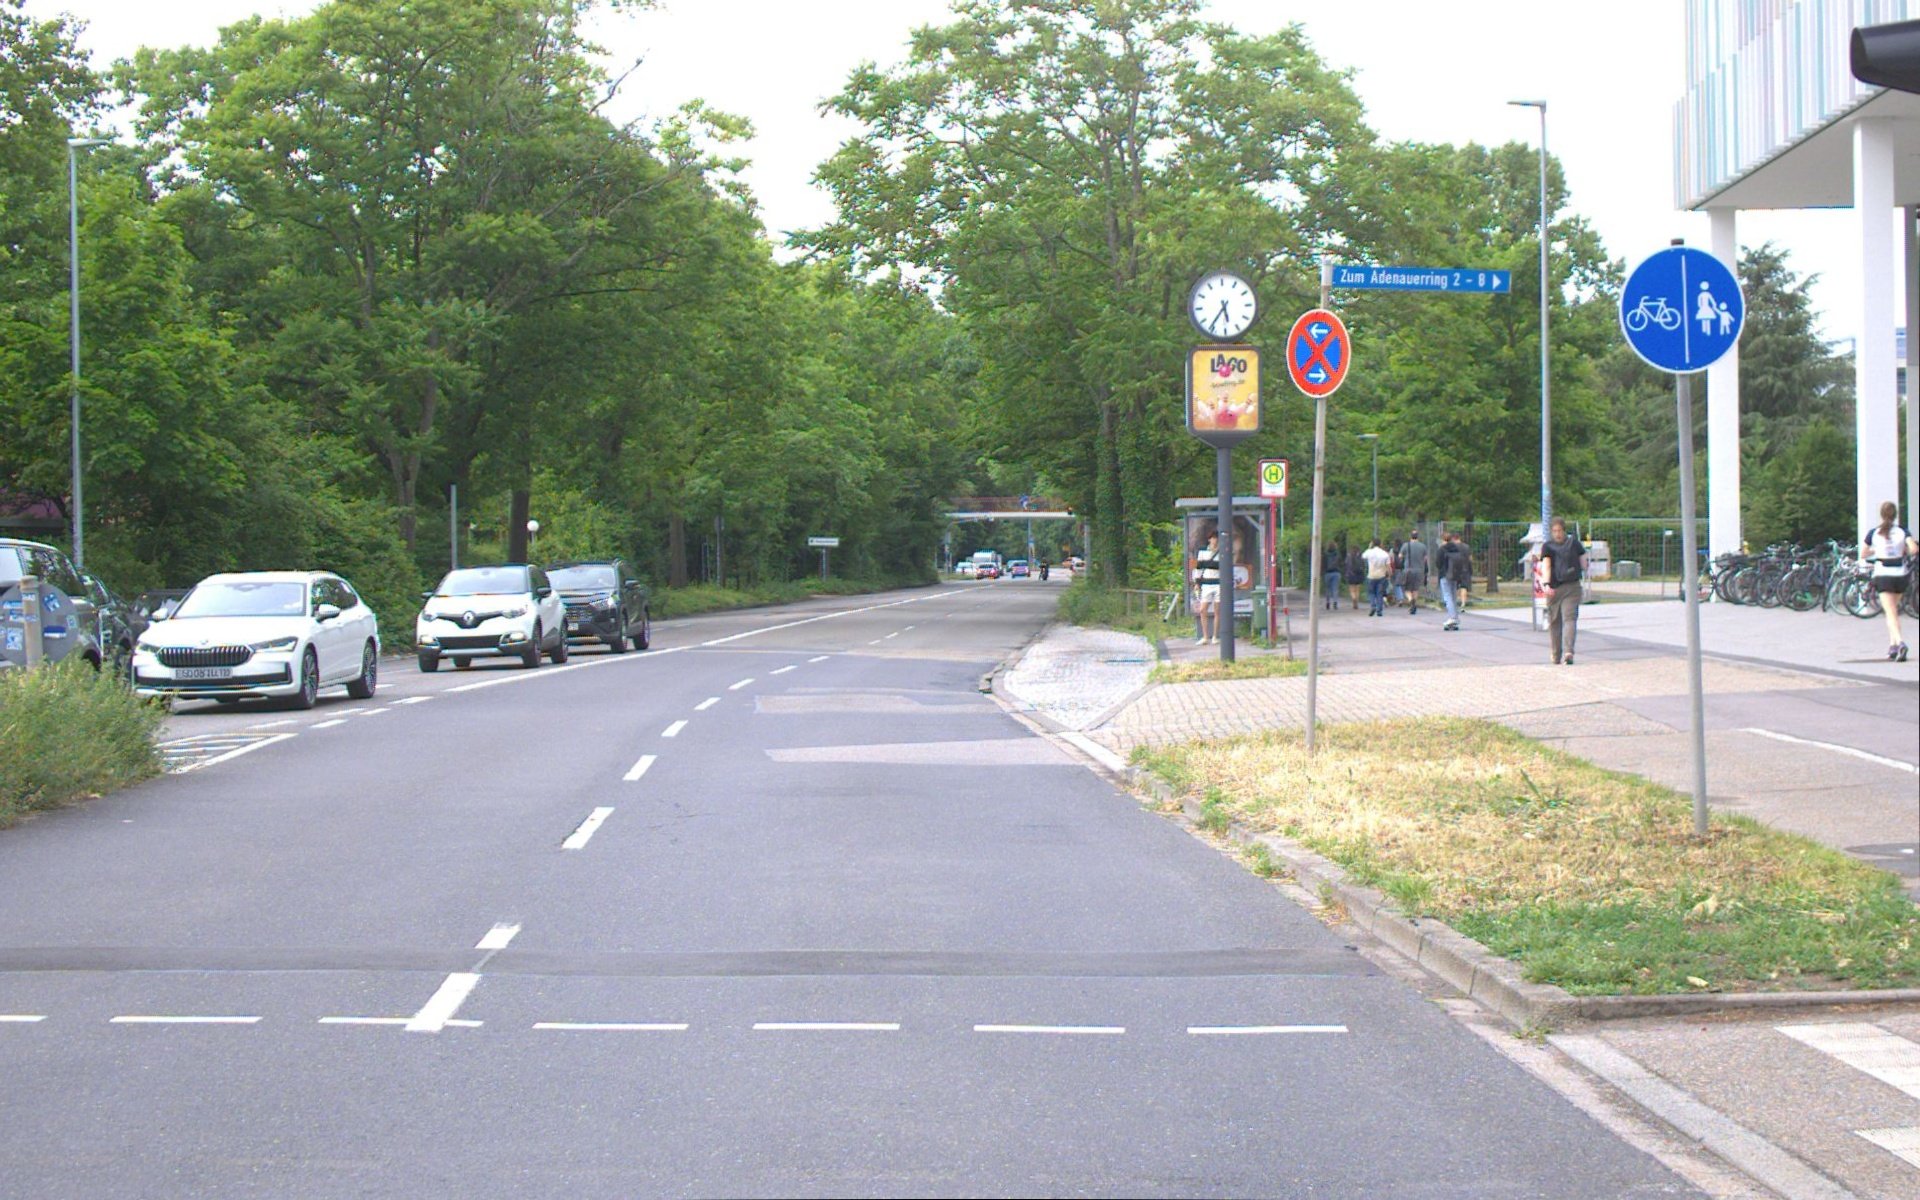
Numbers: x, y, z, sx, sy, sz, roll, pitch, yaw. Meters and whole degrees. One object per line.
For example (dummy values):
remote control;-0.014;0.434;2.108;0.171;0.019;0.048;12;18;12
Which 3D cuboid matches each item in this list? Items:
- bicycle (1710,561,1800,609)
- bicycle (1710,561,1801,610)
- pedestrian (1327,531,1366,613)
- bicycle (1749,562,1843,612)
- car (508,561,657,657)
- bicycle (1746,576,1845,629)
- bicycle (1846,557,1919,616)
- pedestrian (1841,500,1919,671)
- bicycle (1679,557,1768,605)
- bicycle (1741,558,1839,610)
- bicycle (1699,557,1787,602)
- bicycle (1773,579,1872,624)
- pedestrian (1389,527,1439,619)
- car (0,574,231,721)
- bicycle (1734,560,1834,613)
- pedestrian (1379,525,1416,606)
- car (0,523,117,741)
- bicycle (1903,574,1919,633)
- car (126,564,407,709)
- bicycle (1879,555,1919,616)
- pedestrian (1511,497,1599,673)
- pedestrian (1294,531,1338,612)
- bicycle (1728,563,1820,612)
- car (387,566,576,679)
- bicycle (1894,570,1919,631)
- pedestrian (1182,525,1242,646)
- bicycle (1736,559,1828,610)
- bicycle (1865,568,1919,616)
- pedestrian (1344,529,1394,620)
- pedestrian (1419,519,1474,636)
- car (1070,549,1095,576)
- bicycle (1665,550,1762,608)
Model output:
bicycle;15.420;-0.298;66.716;1.606;0.872;0.556;-2;0;4
bicycle;15.303;-0.285;66.136;1.606;0.872;0.556;-2;0;4
pedestrian;9.688;-0.702;86.192;0.824;2.007;0.720;-1;0;-1
bicycle;15.539;-0.239;63.914;1.606;0.872;0.556;-2;0;4
car;-6.636;0.135;60.850;1.903;1.588;4.516;-1;0;3
bicycle;14.167;0.041;58.343;1.532;0.831;0.556;-2;0;4
bicycle;14.430;-0.218;53.220;1.283;0.872;0.556;-2;0;4
pedestrian;10.118;-0.159;37.383;0.842;1.829;0.894;-1;0;2
bicycle;15.033;-0.375;67.701;1.606;0.872;0.556;-2;0;4
bicycle;14.811;-0.287;61.341;1.606;0.872;0.556;-2;0;4
bicycle;15.595;-0.408;68.523;1.606;0.872;0.556;-1;1;-1
bicycle;14.778;0.017;58.912;1.560;0.714;0.556;-2;0;4
pedestrian;10.062;-0.609;76.209;0.925;2.007;1.040;-1;0;-1
car;-10.629;0.548;42.631;1.994;1.688;4.468;-1;0;3
bicycle;14.461;-0.238;60.361;1.606;0.872;0.556;-2;0;4
pedestrian;11.003;-0.855;86.432;0.824;2.007;0.720;-1;0;2
car;-8.344;0.230;26.907;1.994;1.681;4.947;1;1;4
bicycle;15.099;0.036;51.901;1.606;0.893;0.366;-1;0;4
car;-7.601;0.358;38.160;1.904;1.460;4.910;1;1;3
bicycle;15.420;-0.238;54.319;1.692;0.943;0.516;-1;0;10
pedestrian;6.984;-0.179;40.359;0.842;2.007;0.894;-3;0;5
pedestrian;8.968;-0.709;86.566;0.925;2.007;1.040;-1;0;-1
bicycle;15.417;-0.243;65.112;1.606;0.872;0.556;-2;0;4
car;-7.091;0.309;51.366;1.994;1.541;4.179;-2;0;3
bicycle;14.455;-0.010;49.946;1.606;0.872;0.556;-1;0;4
pedestrian;4.332;-0.251;59.139;0.912;2.006;0.854;-3;2;2
bicycle;14.233;-0.267;59.556;1.455;0.836;0.556;-2;0;4
bicycle;15.256;-0.139;54.944;1.434;0.743;0.556;-2;0;4
pedestrian;9.113;-0.573;76.566;0.925;2.007;1.040;-1;0;-1
pedestrian;8.479;-0.394;59.960;0.842;2.007;0.894;-1;0;4
car;9.229;-2.840;258.645;1.843;2.007;4.000;1;1;3
bicycle;15.269;-0.421;69.686;1.794;1.078;0.626;-3;1;2
